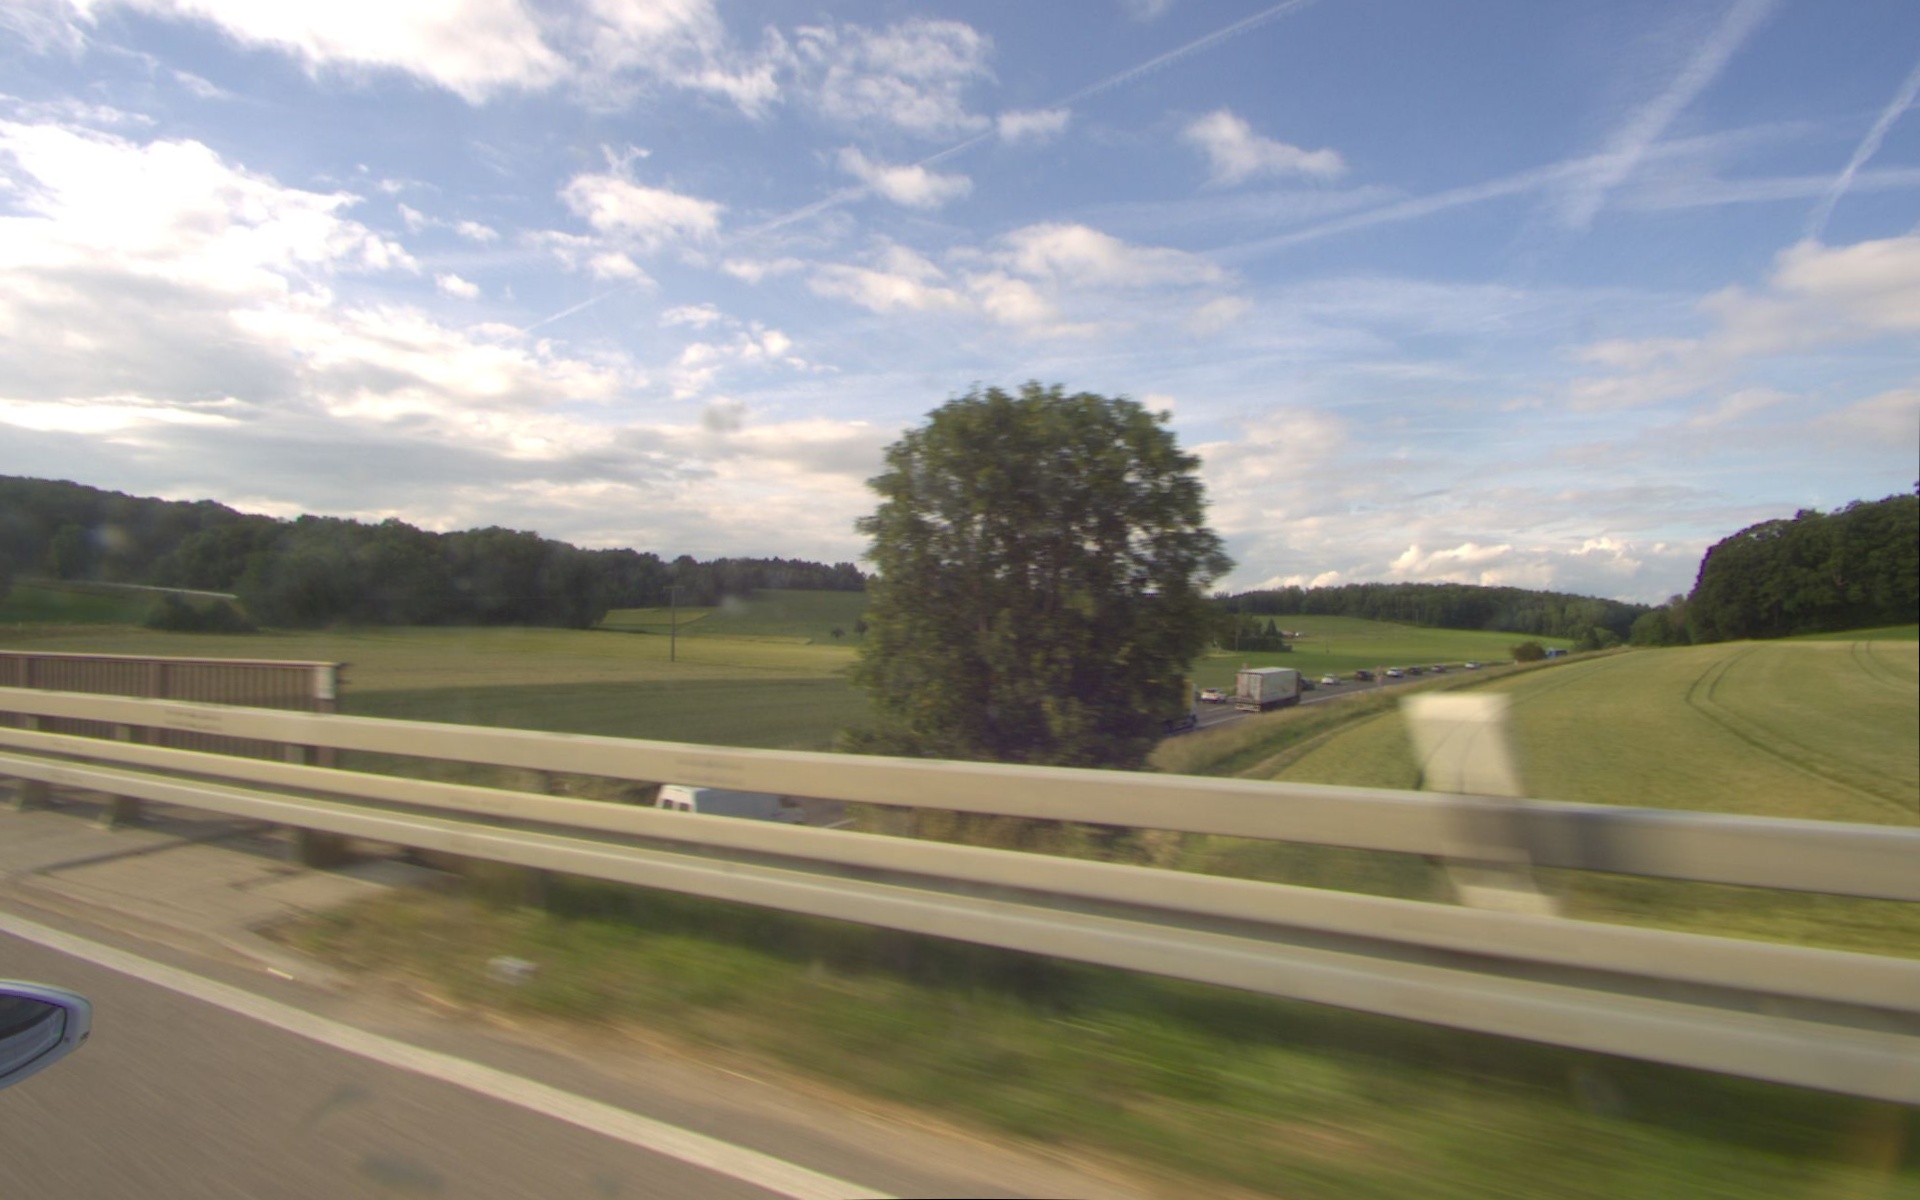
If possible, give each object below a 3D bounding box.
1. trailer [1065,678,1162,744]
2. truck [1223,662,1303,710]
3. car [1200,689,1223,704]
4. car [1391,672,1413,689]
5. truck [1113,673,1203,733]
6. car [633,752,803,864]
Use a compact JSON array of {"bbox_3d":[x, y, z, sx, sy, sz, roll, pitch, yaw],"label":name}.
[{"bbox_3d":[11.225,7.832,72.220,3.781,4.111,9.089,-2,-3,30],"label":"trailer"},{"bbox_3d":[31.281,8.739,102.847,4.024,4.045,14.350,-4,-3,32],"label":"truck"},{"bbox_3d":[26.725,10.211,106.417,1.584,1.412,3.314,1,-2,30],"label":"car"},{"bbox_3d":[60.176,10.907,136.237,1.974,2.038,3.978,-4,-3,33],"label":"car"},{"bbox_3d":[16.036,8.094,80.212,3.784,4.111,9.753,-2,-3,32],"label":"truck"},{"bbox_3d":[-8.593,7.354,36.273,2.336,2.620,6.097,5,2,29],"label":"car"}]
